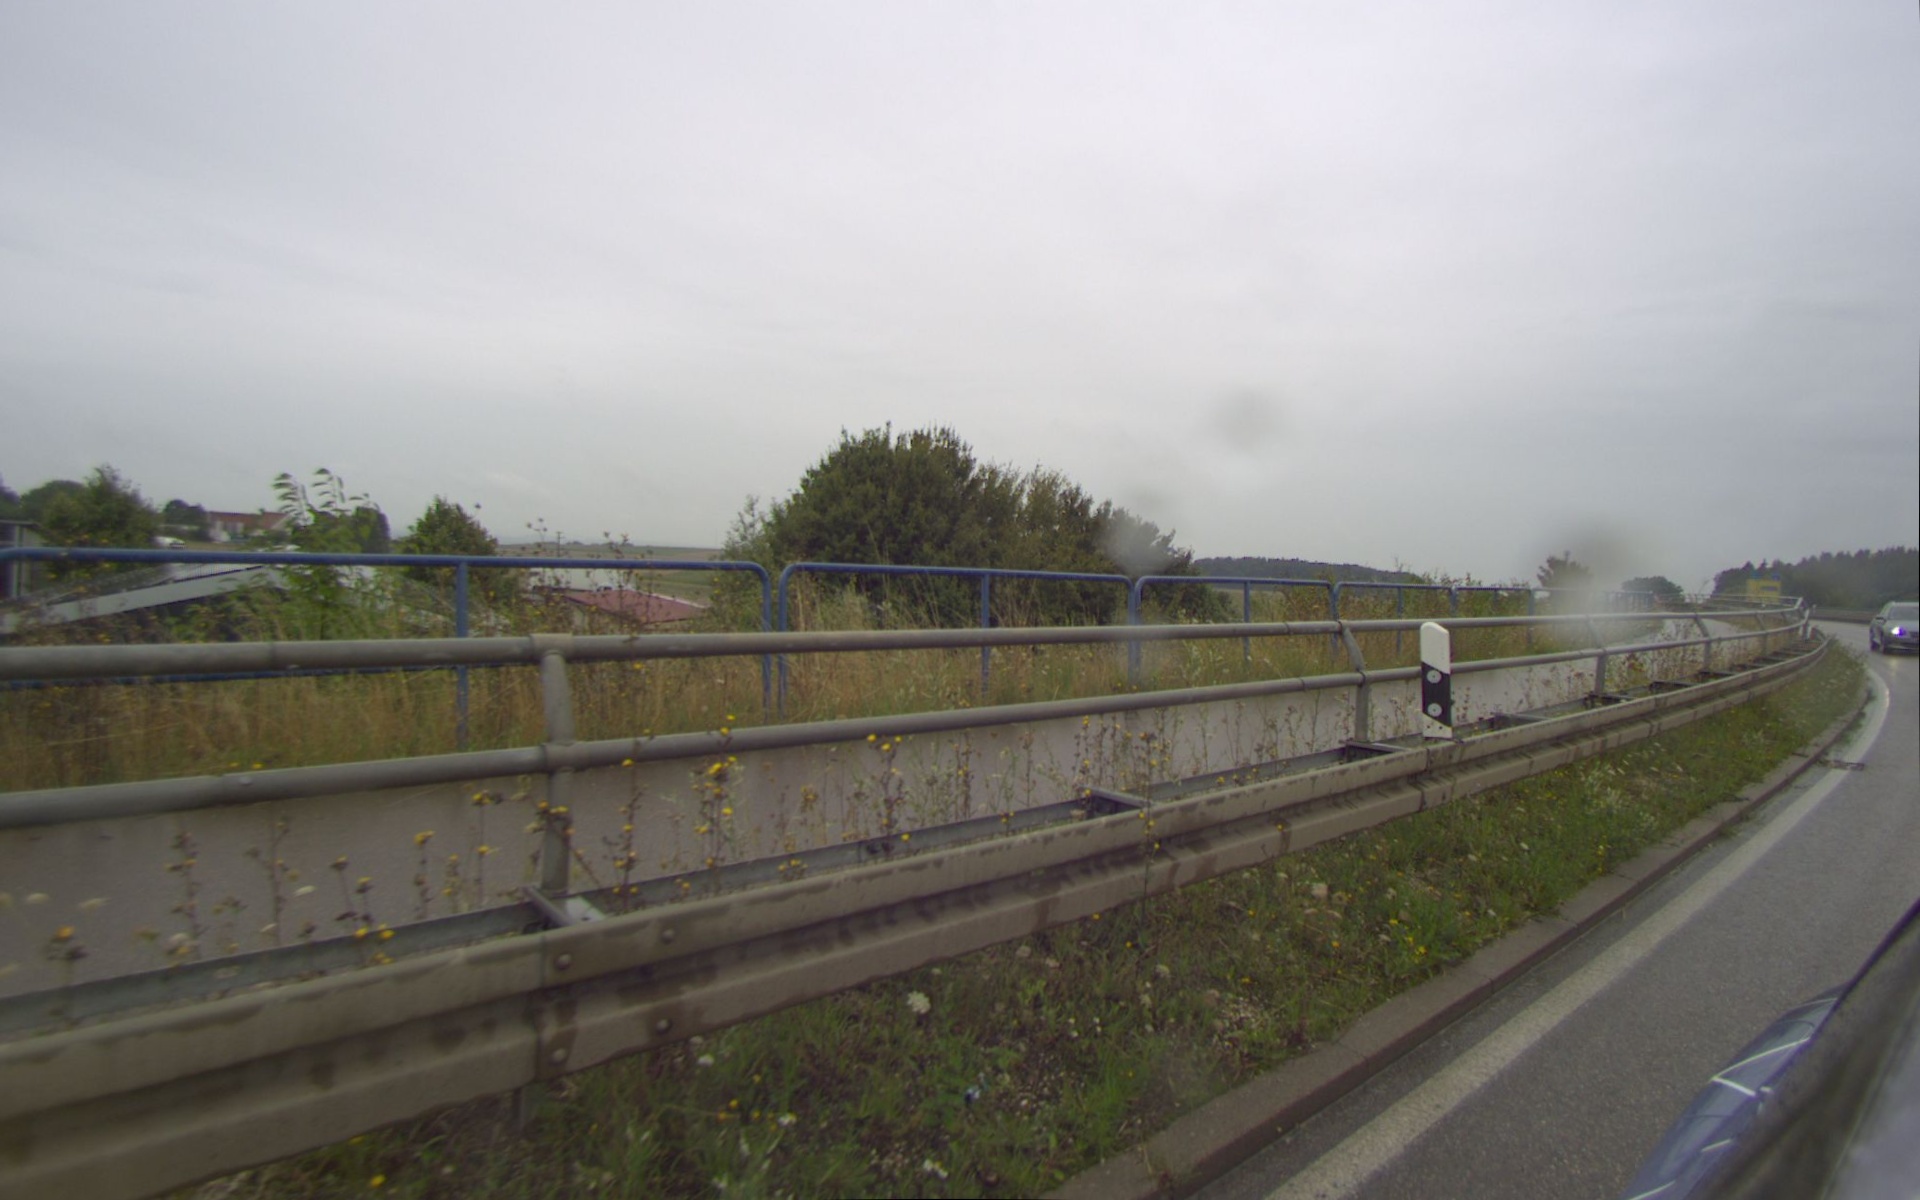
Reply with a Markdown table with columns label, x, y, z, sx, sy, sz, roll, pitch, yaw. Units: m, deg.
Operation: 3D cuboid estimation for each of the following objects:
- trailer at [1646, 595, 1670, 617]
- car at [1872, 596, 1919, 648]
| label | x | y | z | sx | sy | sz | roll | pitch | yaw |
| --- | --- | --- | --- | --- | --- | --- | --- | --- | --- |
| trailer | 136.161 | 1.173 | 197.464 | 2.805 | 4.019 | 13.583 | 4 | 1 | 31 |
| car | 27.575 | 0.613 | 28.920 | 1.810 | 1.408 | 4.015 | 1 | 1 | 36 |
